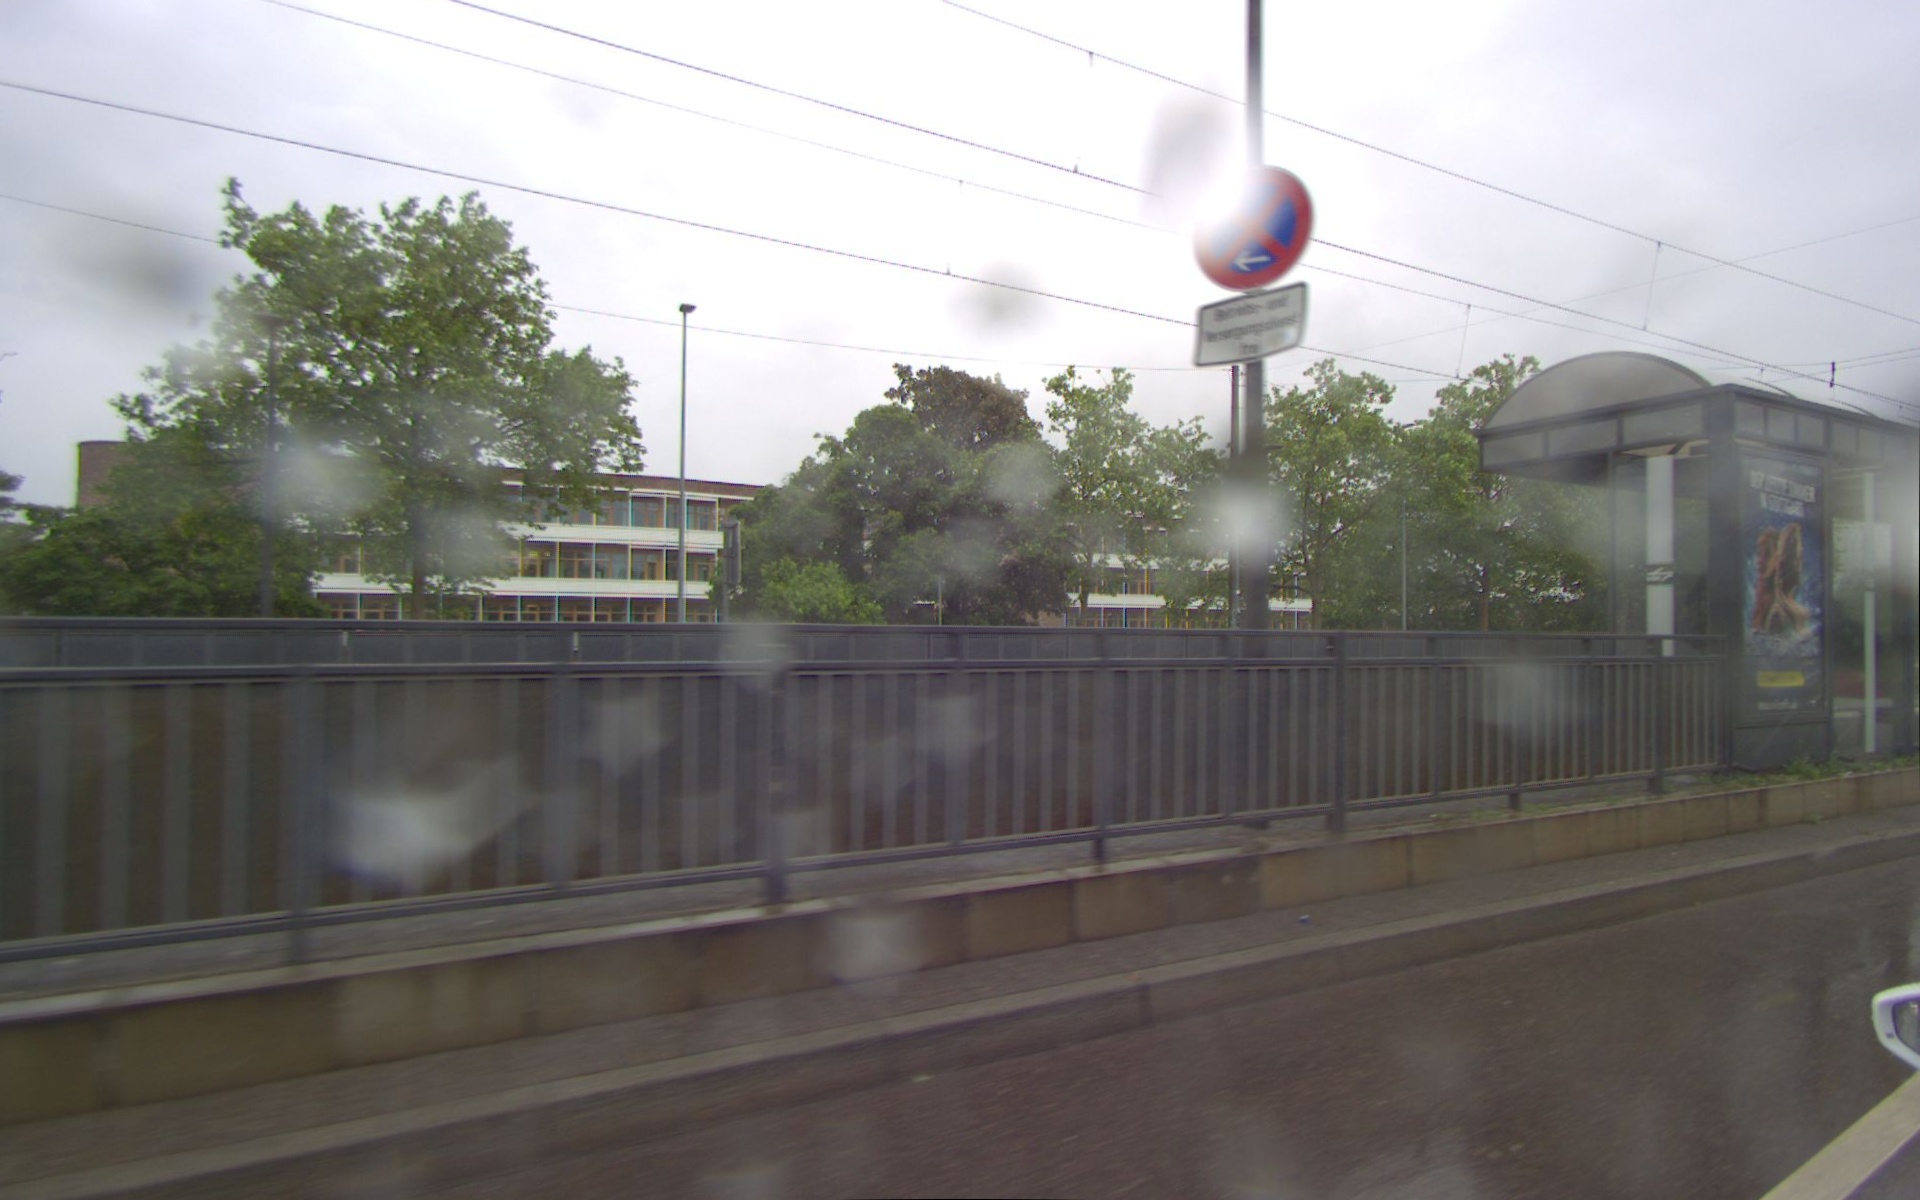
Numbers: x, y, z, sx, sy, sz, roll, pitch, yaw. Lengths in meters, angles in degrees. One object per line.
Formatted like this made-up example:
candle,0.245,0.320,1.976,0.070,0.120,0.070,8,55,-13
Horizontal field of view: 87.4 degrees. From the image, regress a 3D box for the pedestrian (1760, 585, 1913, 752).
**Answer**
pedestrian,7.575,0.563,8.698,0.651,1.358,0.810,1,0,-28
